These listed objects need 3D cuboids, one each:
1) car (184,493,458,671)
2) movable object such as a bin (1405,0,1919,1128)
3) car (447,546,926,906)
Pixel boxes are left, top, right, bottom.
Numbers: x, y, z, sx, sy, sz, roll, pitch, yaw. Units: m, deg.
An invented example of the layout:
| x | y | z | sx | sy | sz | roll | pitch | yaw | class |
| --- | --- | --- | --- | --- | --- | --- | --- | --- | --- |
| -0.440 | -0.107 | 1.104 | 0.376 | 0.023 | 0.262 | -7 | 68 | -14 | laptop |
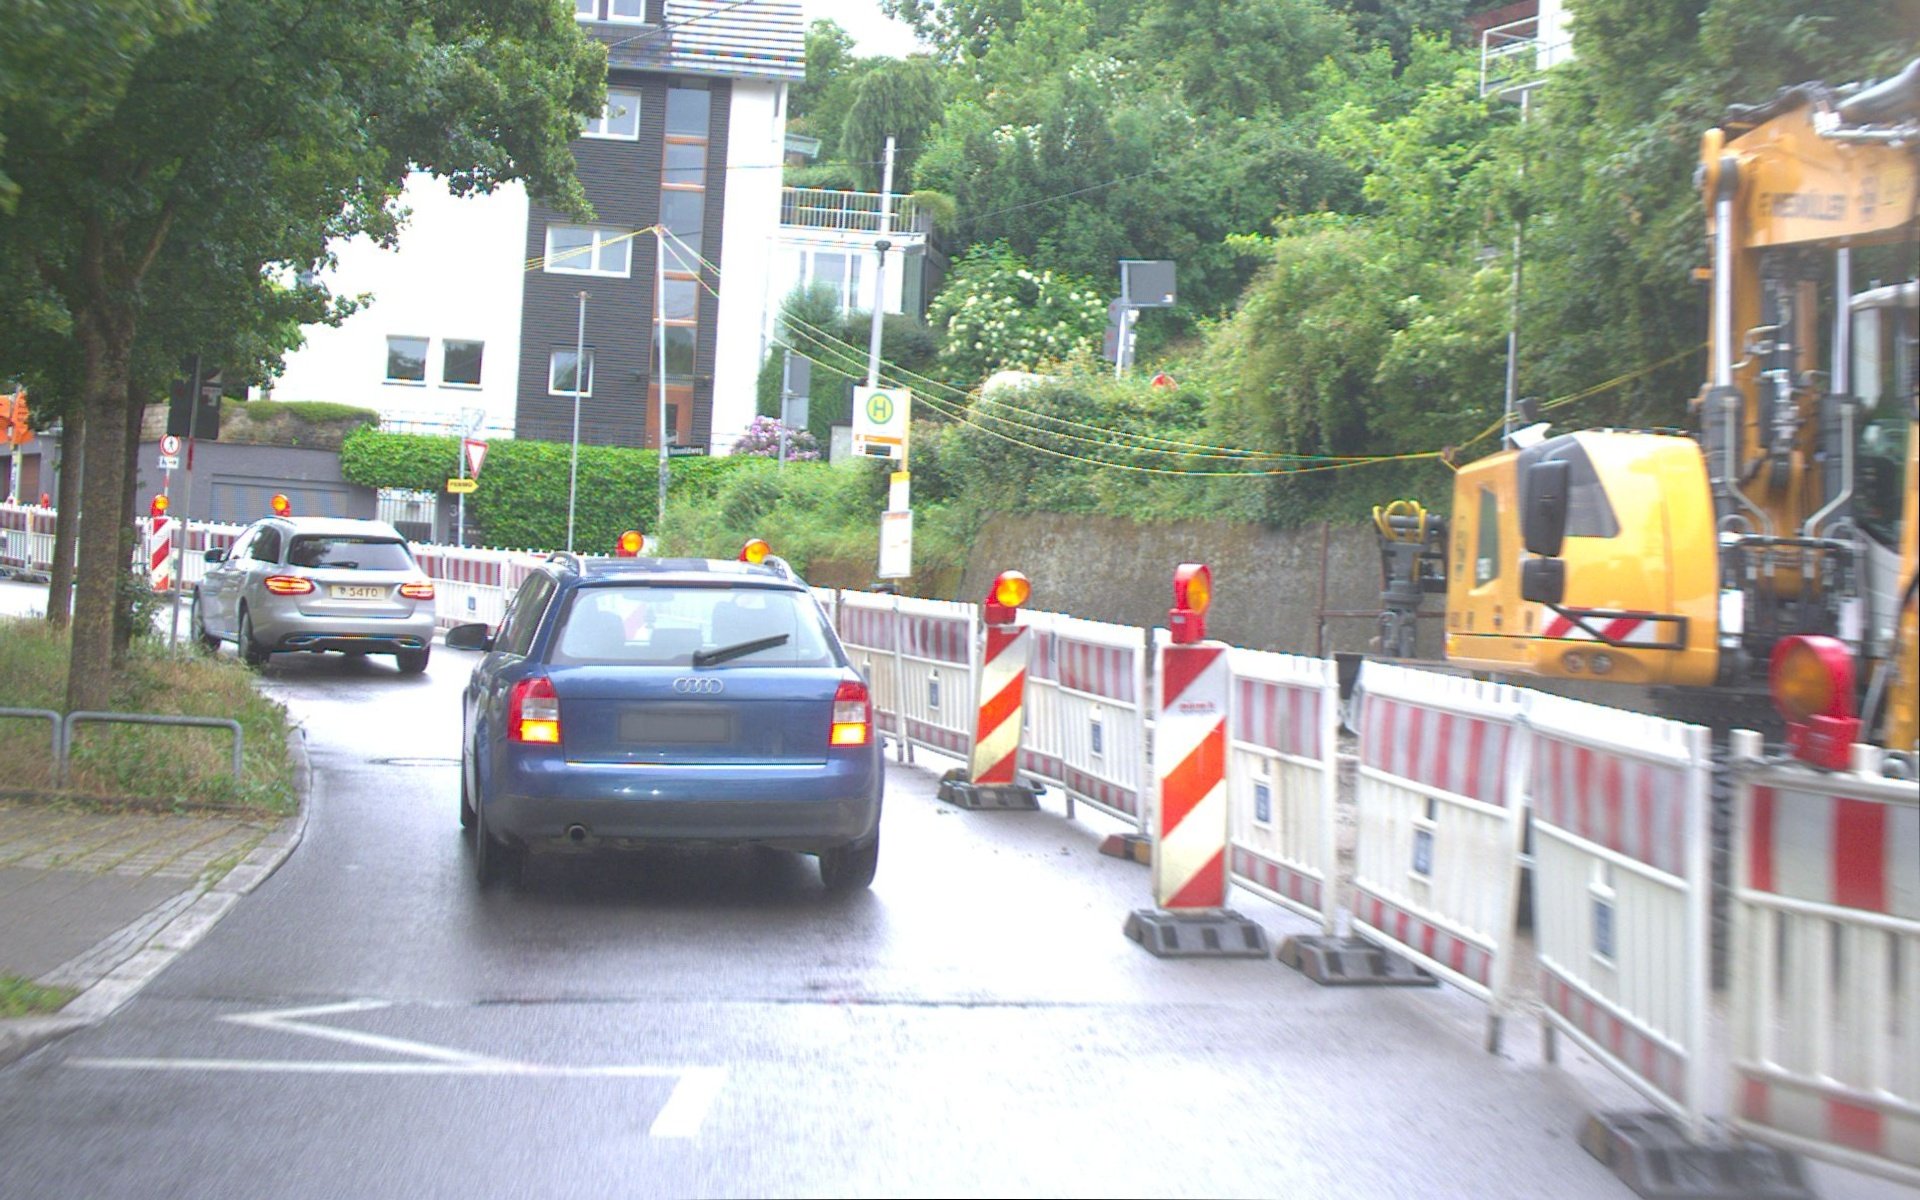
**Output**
| x | y | z | sx | sy | sz | roll | pitch | yaw | class |
| --- | --- | --- | --- | --- | --- | --- | --- | --- | --- |
| -6.424 | -0.223 | 34.198 | 1.925 | 1.612 | 4.322 | 1 | 1 | -20 | car |
| 3.933 | -0.332 | 14.818 | 2.819 | 4.000 | 7.327 | 2 | 1 | -1 | movable object such as a bin |
| -1.389 | 0.488 | 15.887 | 1.785 | 1.437 | 3.965 | 1 | 1 | -10 | car |
